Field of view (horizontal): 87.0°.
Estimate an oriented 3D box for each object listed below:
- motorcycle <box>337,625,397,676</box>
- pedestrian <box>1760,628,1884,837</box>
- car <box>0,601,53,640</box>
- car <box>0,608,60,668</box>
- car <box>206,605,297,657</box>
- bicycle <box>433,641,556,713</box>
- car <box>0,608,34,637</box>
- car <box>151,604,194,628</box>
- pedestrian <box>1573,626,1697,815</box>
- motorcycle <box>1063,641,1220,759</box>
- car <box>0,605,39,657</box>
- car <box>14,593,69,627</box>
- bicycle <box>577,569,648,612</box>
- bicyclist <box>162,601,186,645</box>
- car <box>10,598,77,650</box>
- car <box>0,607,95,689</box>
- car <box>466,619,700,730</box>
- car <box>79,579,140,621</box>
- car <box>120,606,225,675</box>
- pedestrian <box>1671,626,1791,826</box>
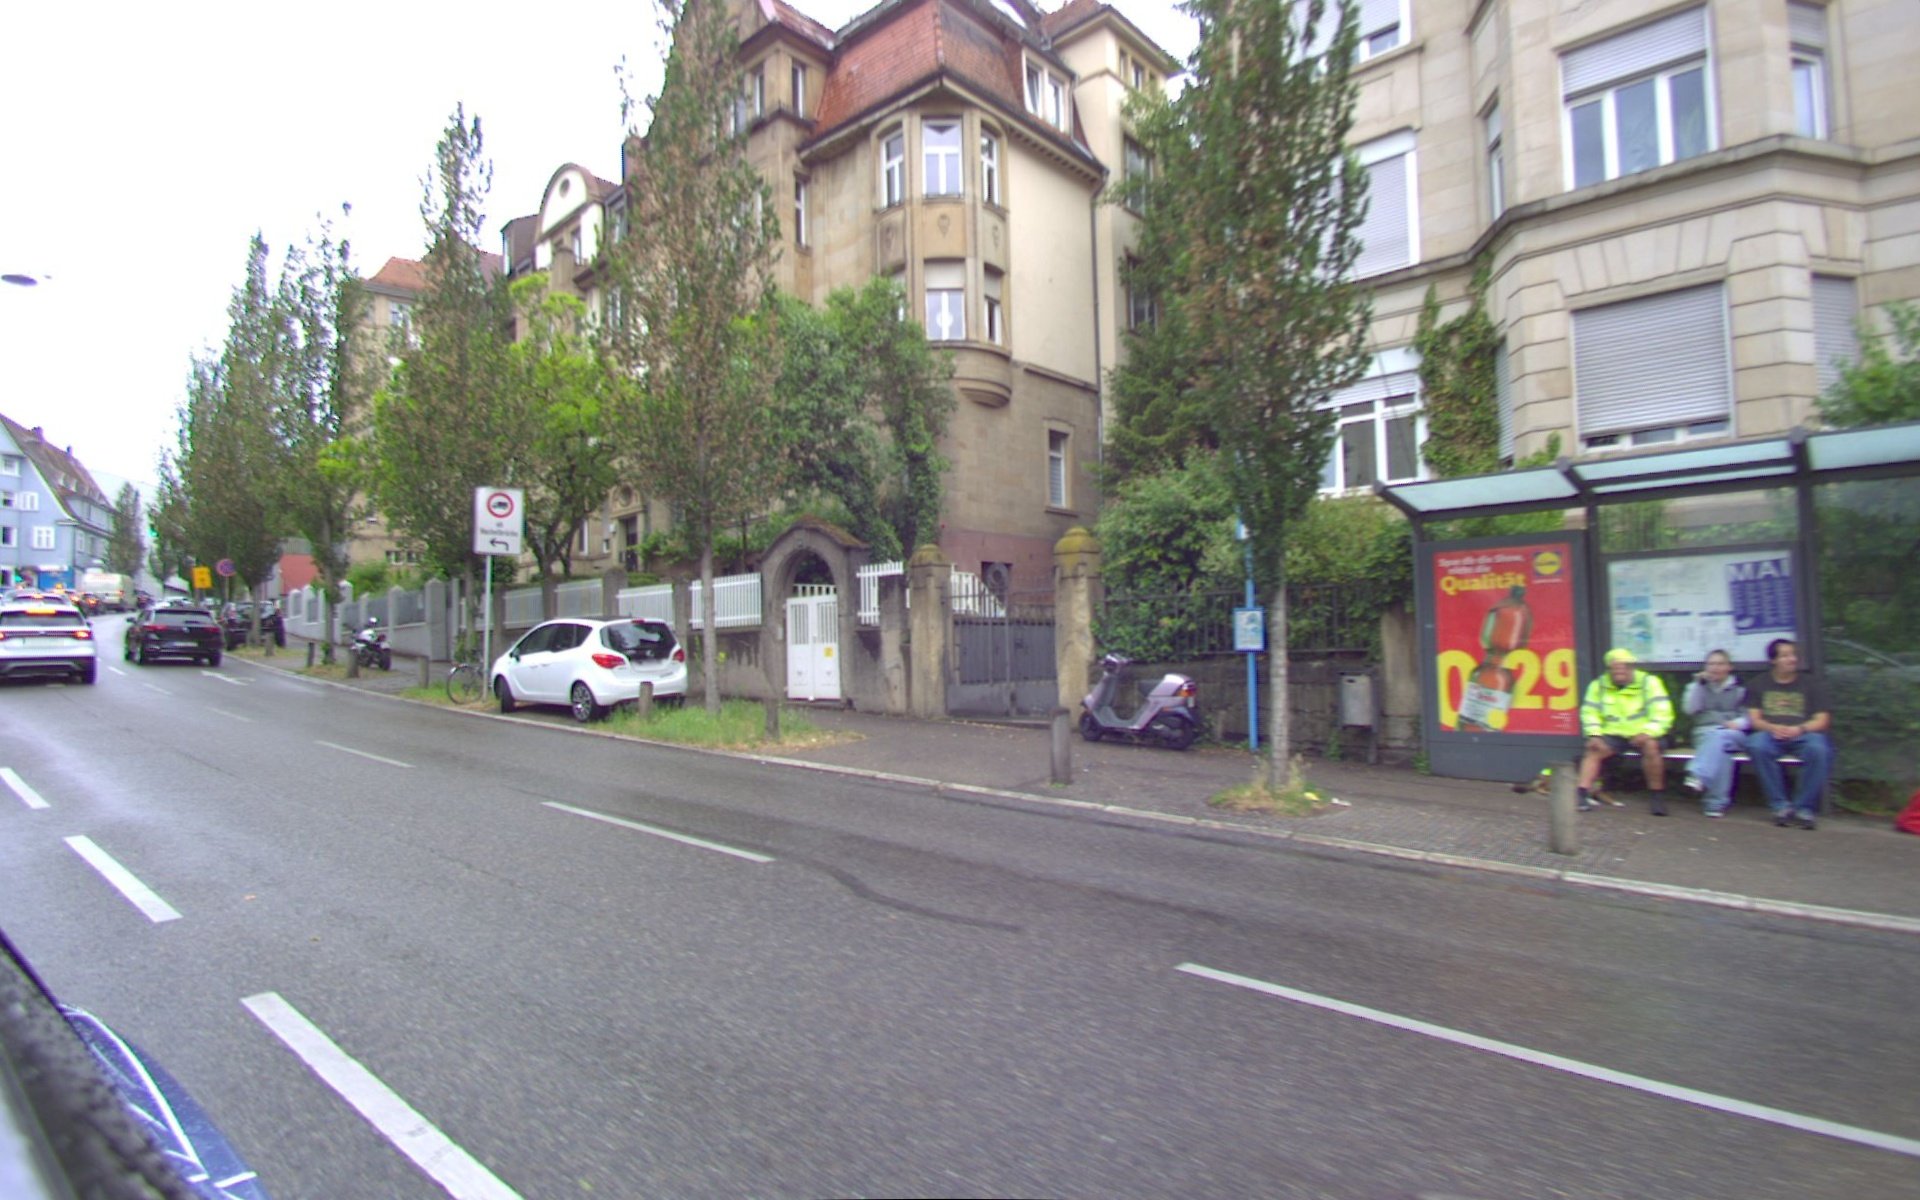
[{"bbox_3d":[-15.047,1.265,25.657,1.979,1.245,0.649,-1,-2,39],"label":"motorcycle"},{"bbox_3d":[6.434,0.935,7.549,0.649,1.443,0.757,-1,-2,43],"label":"pedestrian"},{"bbox_3d":[-39.557,0.870,42.869,1.599,1.535,4.118,4,-4,-42],"label":"car"},{"bbox_3d":[-24.470,0.930,26.099,1.742,1.442,3.889,1,-1,-43],"label":"car"},{"bbox_3d":[-24.428,1.023,34.851,1.973,1.607,3.831,-3,2,-44],"label":"car"},{"bbox_3d":[-8.583,1.395,18.742,0.657,1.245,1.955,-1,-2,41],"label":"bicycle"},{"bbox_3d":[-56.729,1.347,60.103,1.894,1.663,4.146,-1,0,-33],"label":"car"},{"bbox_3d":[-71.618,1.484,92.116,2.100,2.042,5.425,3,-3,-28],"label":"car"},{"bbox_3d":[5.534,0.938,8.292,0.759,1.443,0.758,-1,-2,40],"label":"pedestrian"},{"bbox_3d":[2.094,1.123,11.840,1.763,1.246,0.648,-1,-2,45],"label":"motorcycle"},{"bbox_3d":[-28.952,0.927,30.494,1.691,1.491,4.118,4,-4,-42],"label":"car"},{"bbox_3d":[-48.470,0.556,53.477,1.597,1.674,4.123,3,-3,-36],"label":"car"},{"bbox_3d":[-10.463,-0.267,30.505,0.657,1.245,1.955,-1,-2,41],"label":"bicycle"},{"bbox_3d":[-28.519,0.833,36.711,0.647,1.568,0.993,2,-2,-38],"label":"bicyclist"},{"bbox_3d":[-32.728,0.833,36.152,1.632,1.721,4.118,4,-3,-42],"label":"car"},{"bbox_3d":[-18.903,0.925,20.478,4.101,1.529,1.752,-1,-2,44],"label":"car"},{"bbox_3d":[-6.387,1.140,16.930,4.298,1.571,1.724,-1,0,39],"label":"car"},{"bbox_3d":[-55.267,0.066,65.847,2.101,2.525,5.424,3,-3,-31],"label":"car"},{"bbox_3d":[-21.195,1.058,27.189,1.723,1.529,3.872,5,-1,-44],"label":"car"},{"bbox_3d":[5.994,0.929,7.868,0.649,1.443,0.757,-1,-2,43],"label":"pedestrian"}]
